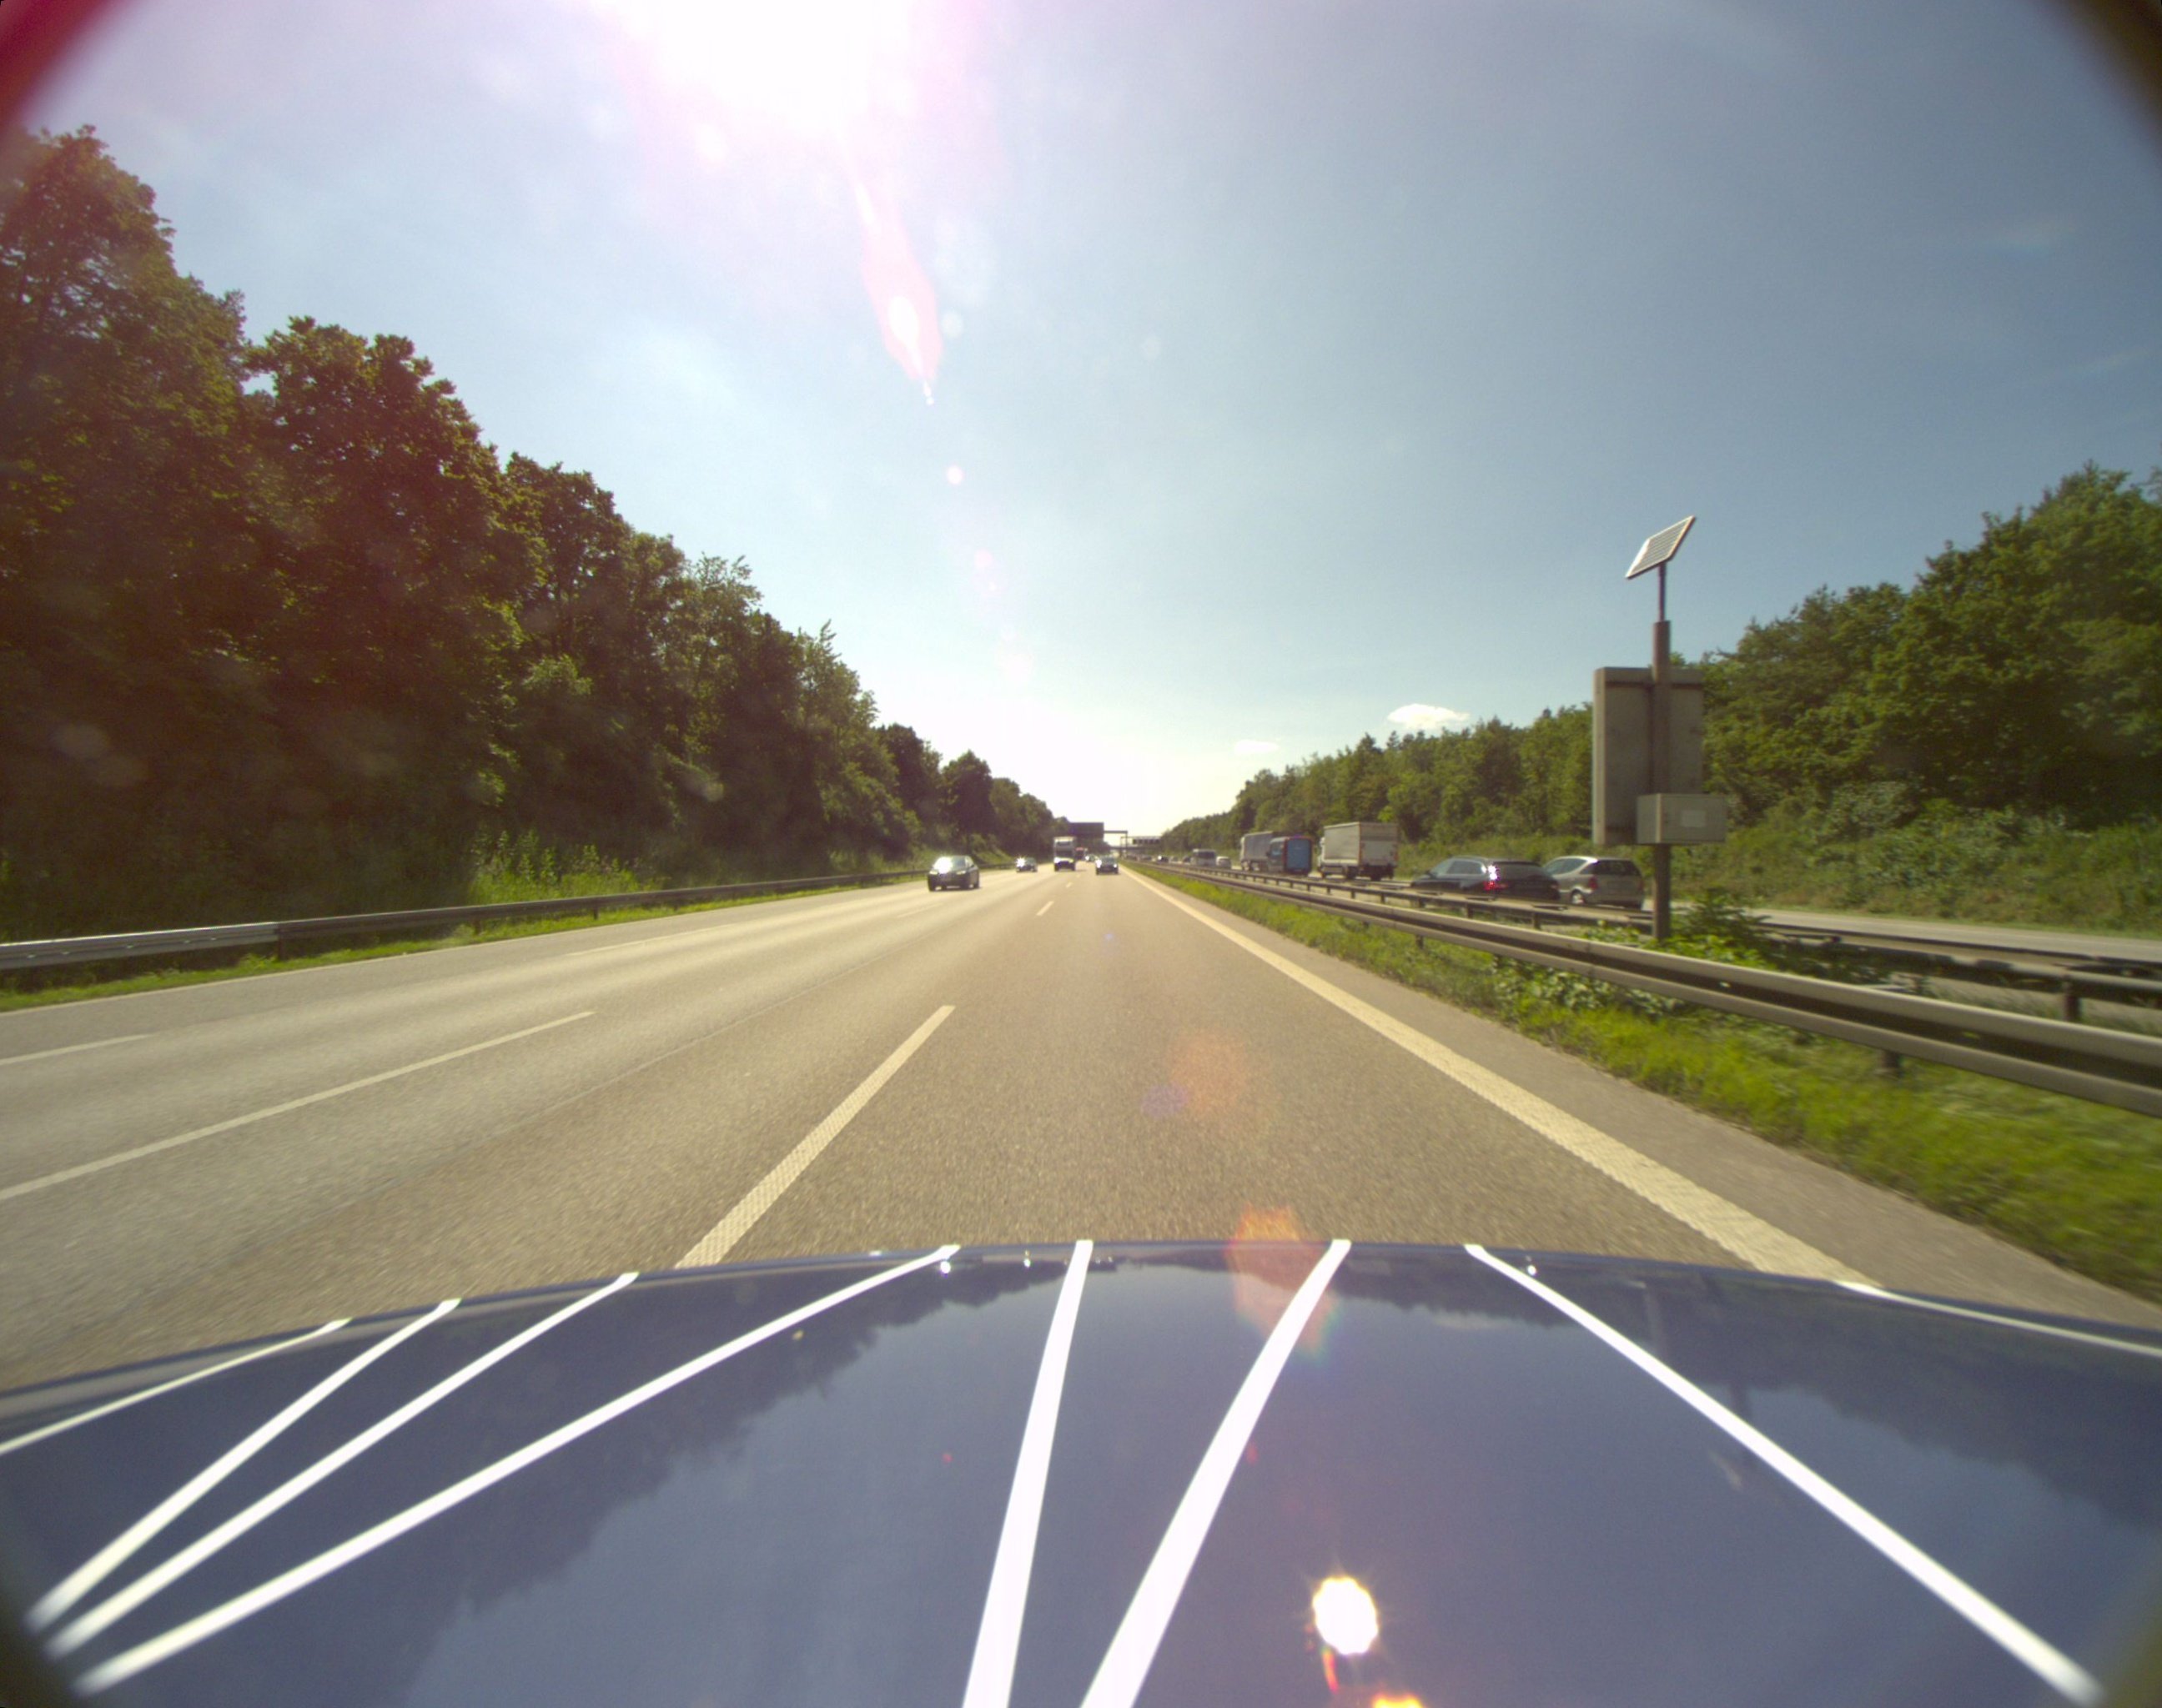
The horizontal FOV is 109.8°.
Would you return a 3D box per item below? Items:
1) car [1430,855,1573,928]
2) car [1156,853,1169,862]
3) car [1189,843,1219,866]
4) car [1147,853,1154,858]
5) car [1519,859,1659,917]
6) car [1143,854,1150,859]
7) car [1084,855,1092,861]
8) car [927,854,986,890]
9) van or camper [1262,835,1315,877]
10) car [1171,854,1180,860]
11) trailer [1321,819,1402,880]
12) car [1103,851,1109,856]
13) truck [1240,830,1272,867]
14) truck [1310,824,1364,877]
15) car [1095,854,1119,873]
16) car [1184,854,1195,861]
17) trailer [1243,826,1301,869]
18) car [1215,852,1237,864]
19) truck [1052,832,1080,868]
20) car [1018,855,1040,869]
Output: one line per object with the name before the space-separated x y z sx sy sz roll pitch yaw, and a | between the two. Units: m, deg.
car | 9.602 0.793 17.640 1.437 1.519 3.457 0 0 1
car | 13.376 0.619 124.849 1.812 1.397 4.819 0 0 1
car | 11.357 0.060 70.232 1.932 1.969 5.234 2 0 1
car | 22.243 0.504 243.981 1.760 1.559 4.430 2 0 2
car | 14.375 0.909 21.749 1.679 1.487 3.544 0 0 1
car | 15.935 0.615 184.453 1.489 1.348 4.417 0 0 1
car | 1.606 0.844 175.007 1.831 1.346 3.679 0 0 1
car | -6.165 0.850 38.253 1.924 1.659 4.687 -2 0 3
van or camper | 15.146 0.121 55.895 2.202 2.795 6.798 2 0 2
car | 24.237 0.736 194.885 1.632 1.483 4.941 2 0 2
trailer | 19.035 -0.281 52.126 2.719 3.787 7.692 1 0 1
car | 7.123 -0.161 216.889 1.591 1.291 3.382 0 0 1
truck | 19.983 -0.647 86.917 2.621 4.035 4.000 2 1 1
truck | 19.109 -0.267 56.916 2.709 3.787 4.000 1 0 1
car | 2.054 0.718 60.548 1.814 1.483 3.729 -1 0 1
car | 22.664 0.723 159.213 1.599 1.559 4.369 2 0 1
trailer | 19.881 -0.614 80.248 2.621 4.034 14.169 2 0 1
car | 16.225 0.430 85.393 1.717 1.410 4.504 0 0 1
truck | -1.497 -0.405 79.321 2.676 3.661 6.484 -1 0 1
car | -5.292 0.803 77.414 1.916 1.390 4.138 -1 0 1
